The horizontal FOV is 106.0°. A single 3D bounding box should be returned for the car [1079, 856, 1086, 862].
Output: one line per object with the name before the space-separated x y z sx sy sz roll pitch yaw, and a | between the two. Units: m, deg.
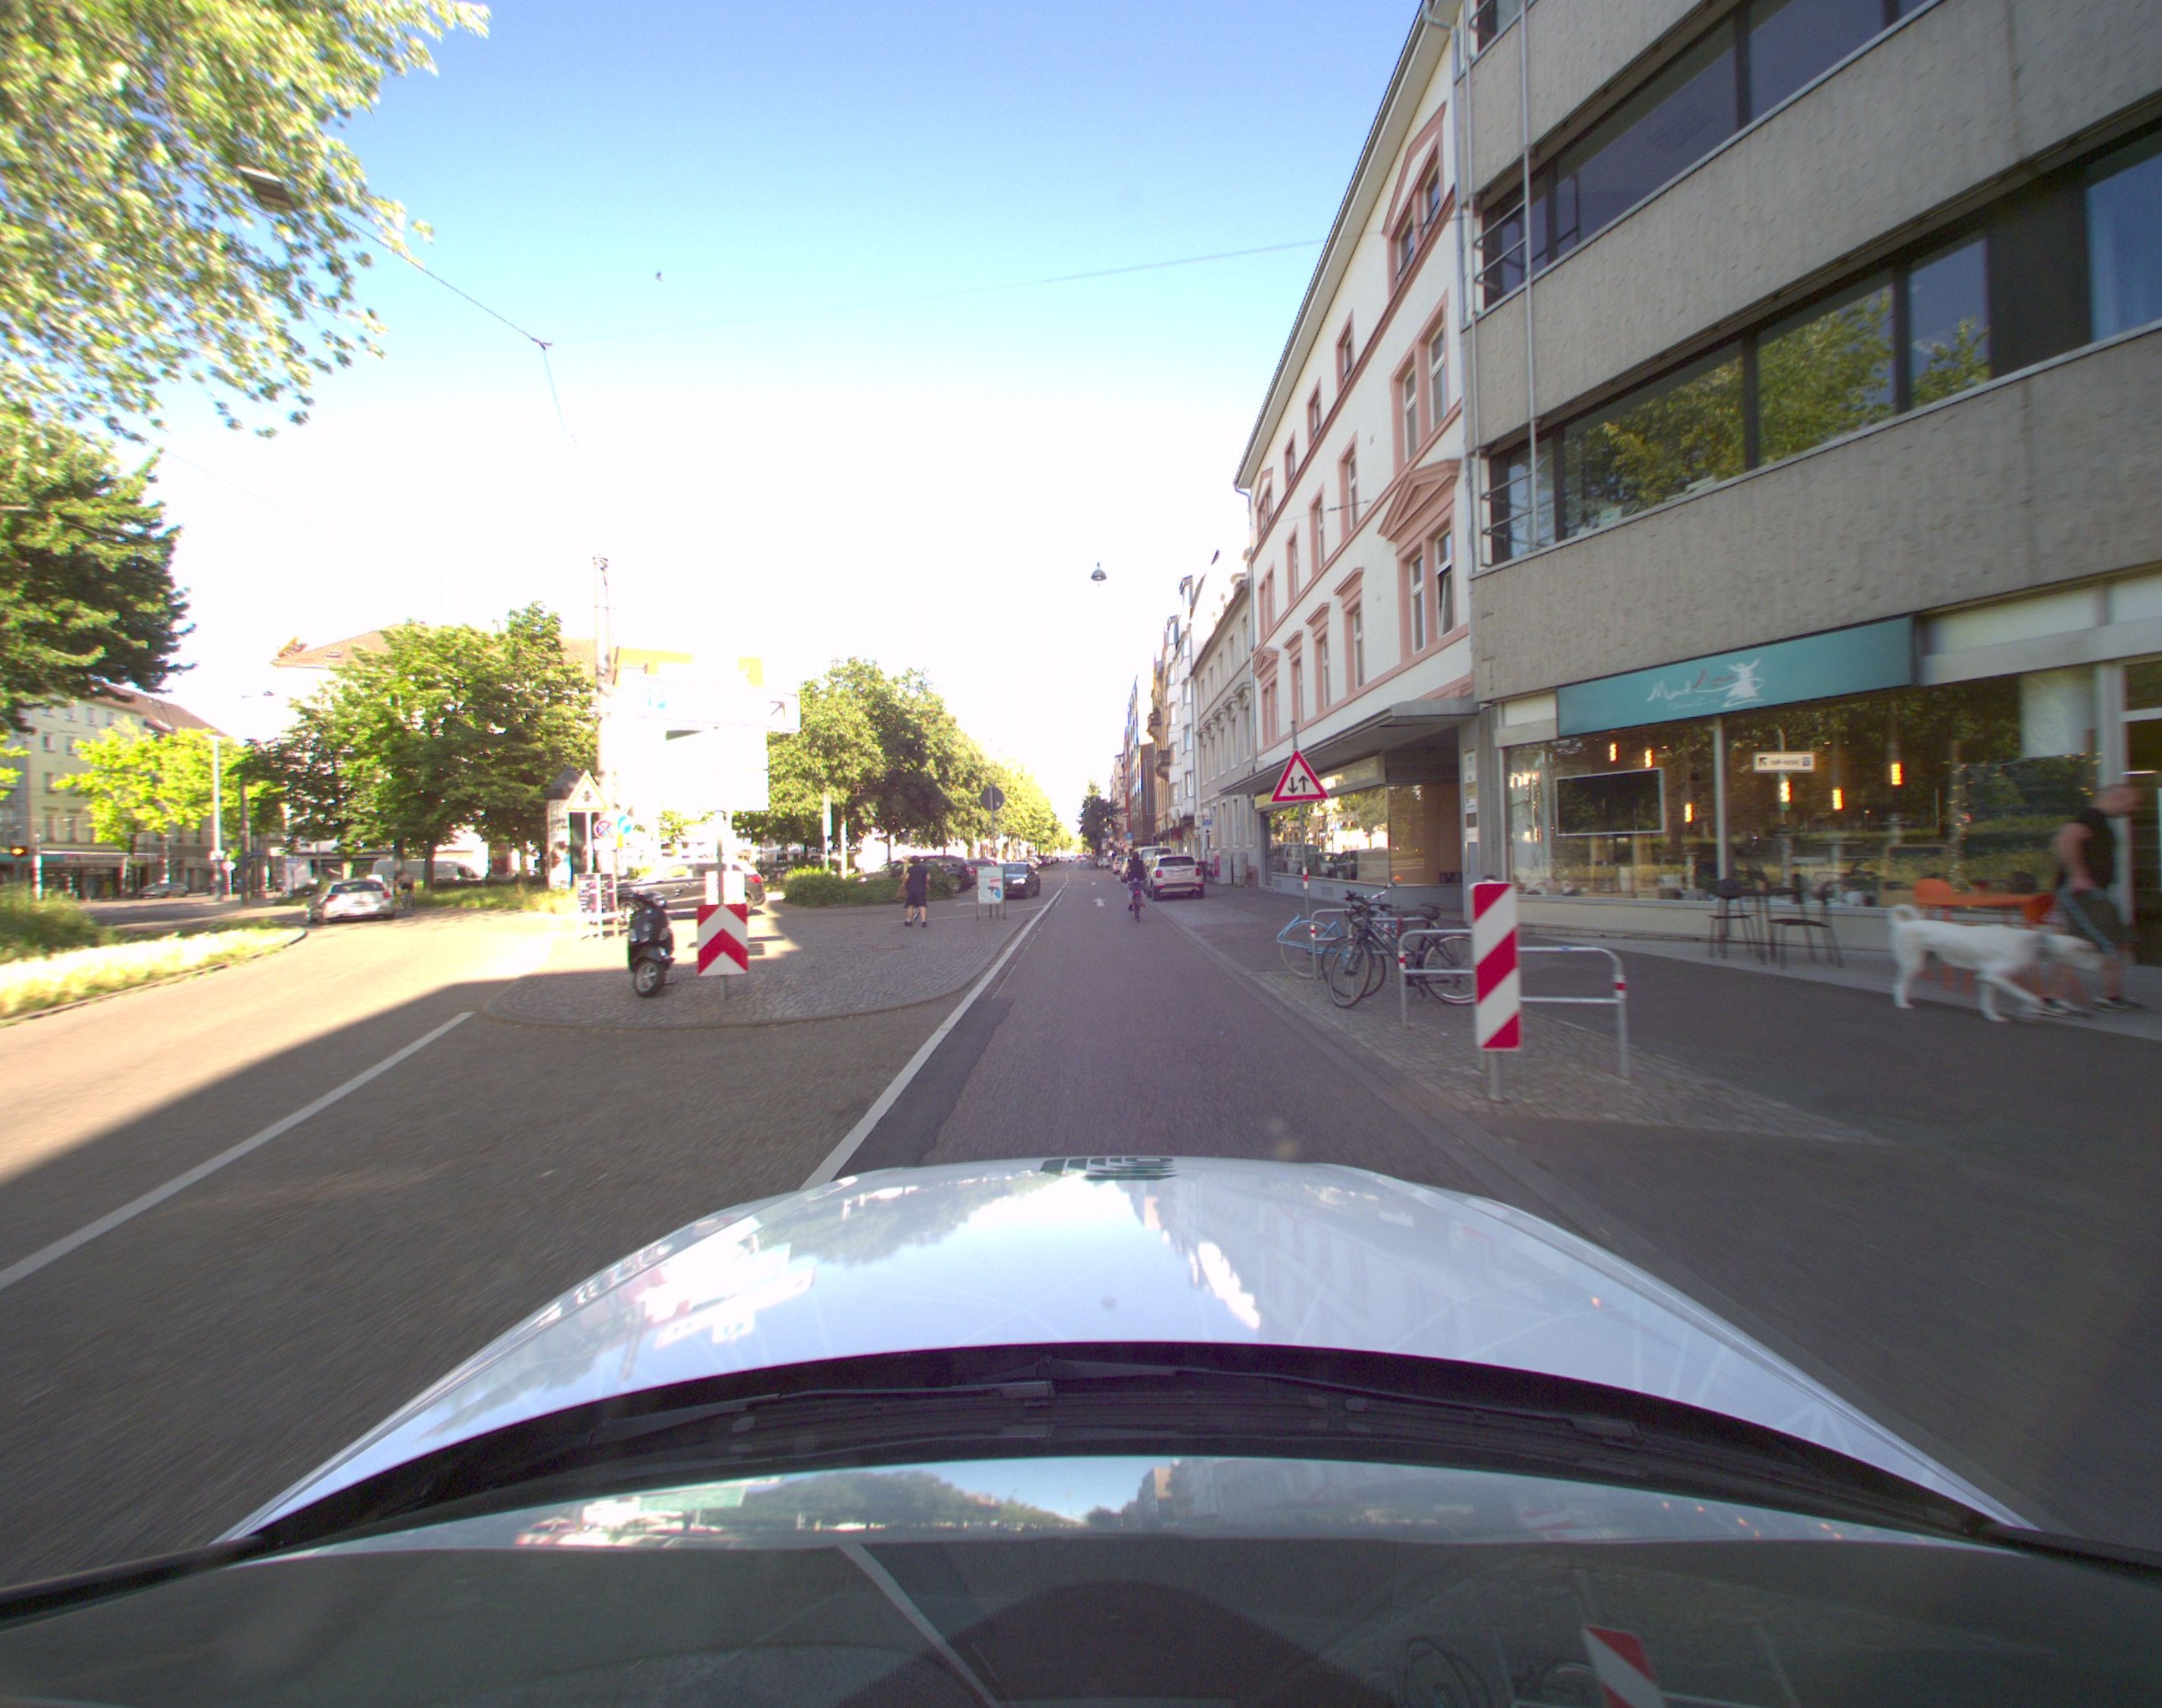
car | 0.387 1.320 204.961 1.864 1.556 4.000 0 -1 1

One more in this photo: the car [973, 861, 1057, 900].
car | -2.476 1.005 32.043 1.898 1.417 4.827 0 -1 13

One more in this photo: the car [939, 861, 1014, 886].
car | -6.474 1.225 50.519 4.245 1.477 1.720 1 -1 -28

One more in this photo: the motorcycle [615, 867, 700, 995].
motorcycle | -4.999 0.846 9.705 0.749 1.374 1.747 1 -1 -23

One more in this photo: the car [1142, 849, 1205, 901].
car | 3.296 0.764 29.837 1.740 1.739 4.959 0 -1 0

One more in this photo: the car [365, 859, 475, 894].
car | -44.551 1.506 55.064 5.359 2.314 1.984 0 -1 -23

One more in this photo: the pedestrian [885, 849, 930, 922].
pedestrian | -4.121 0.733 19.393 0.795 1.699 0.674 -1 -2 30

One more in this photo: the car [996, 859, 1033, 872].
car | -7.444 1.277 91.355 3.973 1.508 2.000 0 -1 1

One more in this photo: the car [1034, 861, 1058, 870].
car | -6.134 2.020 142.497 3.970 1.508 2.002 1 -1 3

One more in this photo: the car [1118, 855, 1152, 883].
car | 3.252 0.904 49.382 1.713 1.515 3.581 -4 -1 0

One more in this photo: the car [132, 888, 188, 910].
car | -85.139 4.132 75.339 2.004 1.783 3.965 1 0 -27

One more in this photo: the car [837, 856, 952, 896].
car | -7.265 0.837 31.906 4.016 1.470 1.855 1 -2 -35

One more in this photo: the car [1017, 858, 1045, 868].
car | -7.415 1.285 120.140 3.973 1.508 1.895 0 -1 0

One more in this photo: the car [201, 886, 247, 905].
car | -88.806 4.298 84.484 2.004 1.783 3.965 1 0 -27

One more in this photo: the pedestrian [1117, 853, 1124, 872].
pedestrian | 3.653 0.784 75.206 0.612 1.735 0.634 0 -2 1

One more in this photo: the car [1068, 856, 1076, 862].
car | -2.182 1.232 198.698 1.986 1.556 4.000 0 -1 1

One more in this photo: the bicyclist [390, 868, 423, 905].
bicyclist | -27.839 1.327 33.619 0.815 1.507 0.937 -1 -2 42

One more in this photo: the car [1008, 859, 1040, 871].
car | -7.259 1.450 104.328 3.973 1.508 2.000 0 -1 1

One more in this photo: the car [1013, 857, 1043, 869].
car | -7.359 1.316 113.934 3.973 1.674 2.089 0 -1 1

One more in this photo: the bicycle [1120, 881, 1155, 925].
bicycle | 1.368 1.164 20.019 0.650 0.958 2.697 0 -1 0

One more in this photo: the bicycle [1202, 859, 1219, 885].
bicycle | 6.156 0.860 38.644 0.479 1.186 1.727 -4 -2 18

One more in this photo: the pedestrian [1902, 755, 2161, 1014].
pedestrian | 7.194 0.214 6.094 1.012 1.743 1.140 0 -1 13

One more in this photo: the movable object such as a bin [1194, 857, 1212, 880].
movable object such as a bin | 6.380 0.754 42.683 0.835 1.137 0.700 -2 -2 3

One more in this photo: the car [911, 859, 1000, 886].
car | -7.247 1.047 47.059 4.856 1.488 1.751 0 -1 -24

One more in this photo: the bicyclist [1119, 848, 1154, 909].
bicyclist | 1.368 0.603 20.198 0.784 1.453 1.095 0 -1 -1

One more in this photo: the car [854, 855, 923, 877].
car | -16.124 1.050 68.387 5.292 1.800 2.144 1 -1 -27

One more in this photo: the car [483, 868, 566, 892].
car | -42.158 1.942 61.808 4.875 1.804 1.895 0 -1 -22

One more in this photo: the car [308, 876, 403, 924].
car | -24.122 1.471 27.028 4.144 1.423 2.012 -1 -2 44

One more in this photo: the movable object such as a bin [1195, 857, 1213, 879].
movable object such as a bin | 6.320 0.728 41.978 0.792 1.076 0.660 -4 -2 2

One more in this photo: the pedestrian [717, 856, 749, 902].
pedestrian | -11.744 0.843 27.488 0.774 1.522 0.947 1 -2 -39

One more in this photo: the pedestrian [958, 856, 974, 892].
pedestrian | -5.356 0.914 37.871 0.698 1.649 0.644 0 -2 -7

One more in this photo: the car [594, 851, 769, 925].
car | -10.304 0.826 21.135 3.881 1.682 1.795 -1 -1 -29

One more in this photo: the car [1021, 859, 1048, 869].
car | -7.082 1.578 124.758 3.974 1.508 2.000 0 -1 0

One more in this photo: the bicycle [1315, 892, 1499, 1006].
bicycle | 3.202 0.917 8.119 1.666 1.062 0.345 0 -2 16

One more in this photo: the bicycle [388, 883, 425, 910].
bicycle | -27.834 1.727 33.599 2.550 1.069 0.817 -1 -2 42

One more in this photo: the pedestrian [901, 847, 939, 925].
pedestrian | -3.528 0.694 17.869 0.640 1.672 0.686 1 -2 -29

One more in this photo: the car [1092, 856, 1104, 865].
car | 3.061 1.184 143.984 1.987 1.453 3.999 -1 0 0

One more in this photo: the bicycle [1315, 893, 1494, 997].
bicycle | 3.320 0.916 8.487 1.690 1.004 0.429 0 -2 16

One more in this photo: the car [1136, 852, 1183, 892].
car | 3.337 0.784 35.264 1.693 1.604 3.757 -1 -1 1

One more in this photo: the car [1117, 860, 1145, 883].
car | 3.261 1.139 53.315 1.672 1.448 3.785 0 -1 1

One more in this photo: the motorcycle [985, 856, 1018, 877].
motorcycle | -6.652 1.041 67.969 2.452 1.604 1.004 -2 -1 18

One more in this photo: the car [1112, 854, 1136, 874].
car | 3.690 0.888 70.503 1.893 1.675 4.823 0 -1 0

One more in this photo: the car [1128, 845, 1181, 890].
car | 3.491 0.600 39.674 1.988 2.005 5.114 -1 0 -1

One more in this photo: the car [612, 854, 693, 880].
car | -34.185 1.049 65.147 5.605 2.014 1.802 1 -2 -27

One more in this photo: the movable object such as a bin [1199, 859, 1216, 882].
movable object such as a bin | 6.330 0.821 40.700 0.765 1.161 0.579 0 -1 3

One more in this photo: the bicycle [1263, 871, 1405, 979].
bicycle | 3.102 0.835 10.007 1.608 1.243 0.662 -1 -2 20

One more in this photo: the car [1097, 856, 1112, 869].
car | 3.187 1.188 111.710 1.985 1.618 4.012 0 -1 3

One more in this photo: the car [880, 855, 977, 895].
car | -6.720 0.885 35.758 3.995 1.668 1.989 0 0 -16
